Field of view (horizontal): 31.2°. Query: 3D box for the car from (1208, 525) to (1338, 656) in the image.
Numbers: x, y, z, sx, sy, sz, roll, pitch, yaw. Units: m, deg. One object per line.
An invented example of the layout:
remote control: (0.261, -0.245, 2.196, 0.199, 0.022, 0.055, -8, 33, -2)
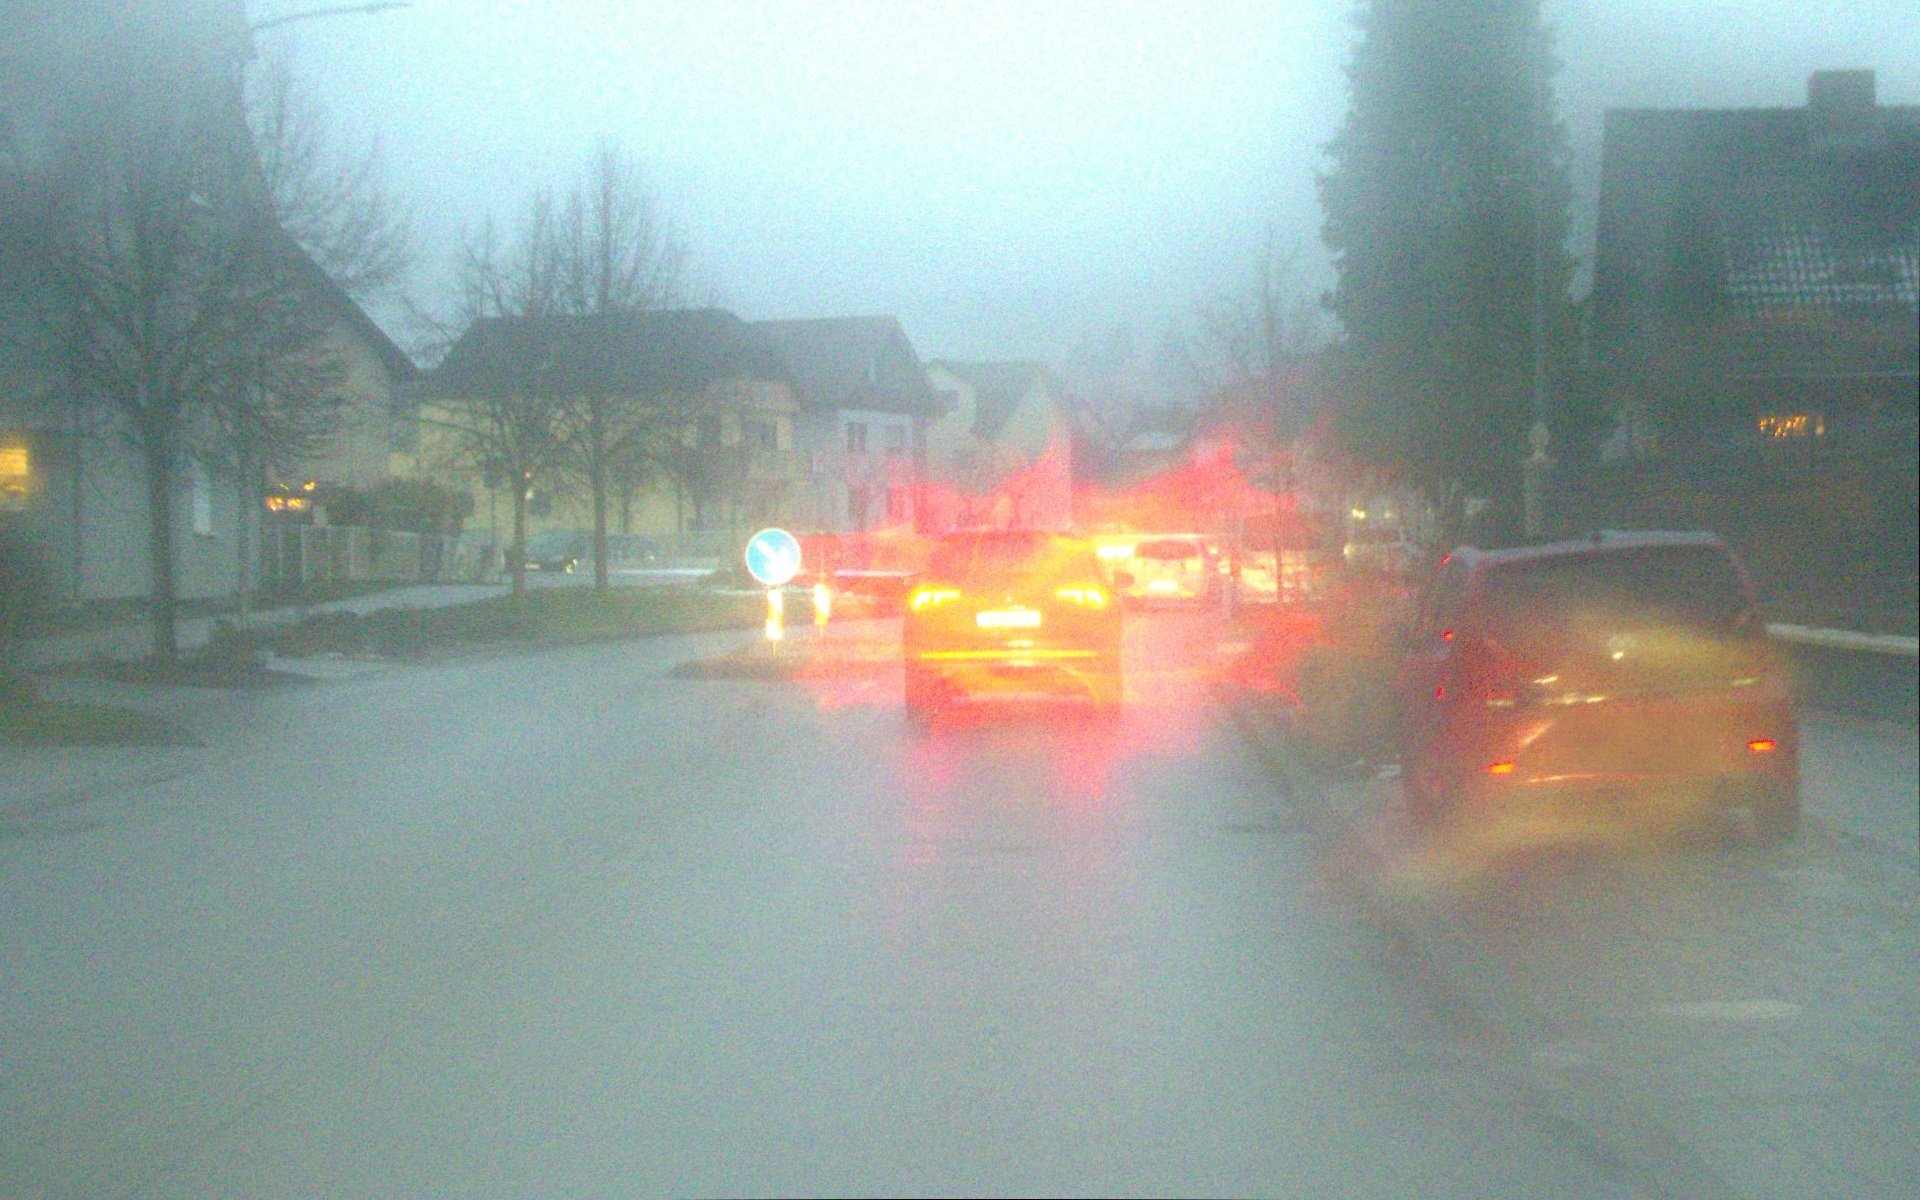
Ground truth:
car: (5.187, -0.194, 57.088, 1.978, 2.007, 5.744, -2, 1, 5)

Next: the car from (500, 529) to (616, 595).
car: (-12.731, -1.197, 109.011, 1.996, 2.007, 3.996, 2, 1, 20)

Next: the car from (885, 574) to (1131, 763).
car: (0.405, 0.545, 30.081, 1.993, 1.520, 4.000, 1, 0, 0)

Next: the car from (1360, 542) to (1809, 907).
car: (2.990, 0.555, 17.092, 1.649, 1.535, 3.390, -4, 0, 2)

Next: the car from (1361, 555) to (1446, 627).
car: (11.807, -0.261, 91.305, 1.746, 1.779, 4.333, -2, 1, 13)

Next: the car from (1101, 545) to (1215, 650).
car: (3.961, -0.047, 68.295, 1.994, 2.007, 3.999, 1, 0, 7)
